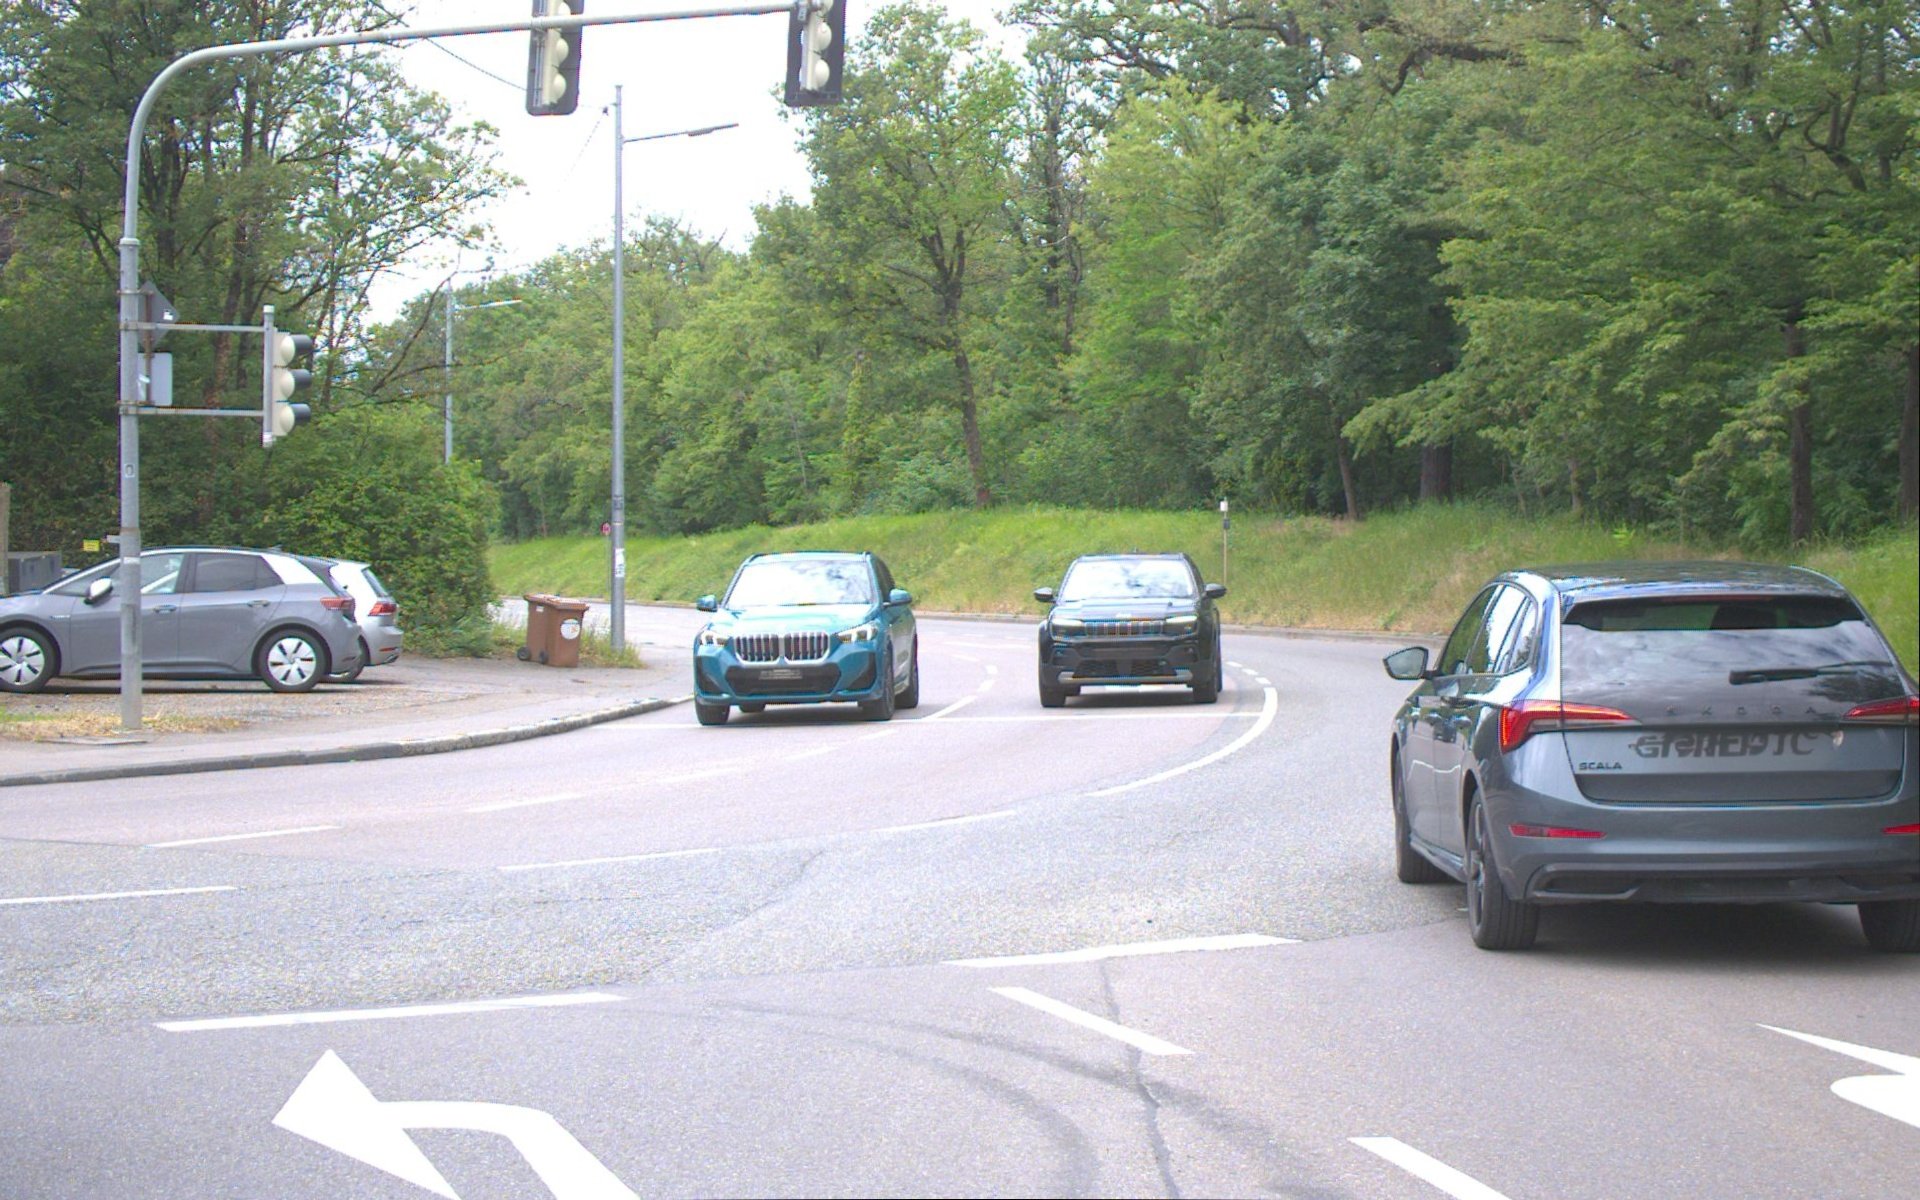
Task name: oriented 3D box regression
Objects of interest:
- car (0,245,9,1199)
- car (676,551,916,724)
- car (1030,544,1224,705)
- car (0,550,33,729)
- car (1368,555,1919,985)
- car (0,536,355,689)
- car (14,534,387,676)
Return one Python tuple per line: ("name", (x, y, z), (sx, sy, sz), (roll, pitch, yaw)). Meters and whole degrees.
("car", (-4.230, 0.264, 8.103), (1.917, 2.046, 4.612), (-1, 2, -43))
("car", (-1.530, 0.318, 33.557), (1.857, 1.501, 4.000), (-1, 1, 4))
("car", (1.674, 0.208, 35.667), (1.815, 1.501, 4.000), (-1, 1, 1))
("car", (-9.066, 0.291, 26.813), (1.699, 1.444, 3.539), (3, 1, 22))
("car", (2.747, 0.567, 13.969), (1.792, 1.445, 4.000), (1, 1, 2))
("car", (-8.544, 0.114, 36.551), (4.085, 1.548, 1.855), (0, 2, -12))
("car", (-8.703, 0.045, 39.516), (4.085, 1.548, 1.855), (0, 2, -12))
